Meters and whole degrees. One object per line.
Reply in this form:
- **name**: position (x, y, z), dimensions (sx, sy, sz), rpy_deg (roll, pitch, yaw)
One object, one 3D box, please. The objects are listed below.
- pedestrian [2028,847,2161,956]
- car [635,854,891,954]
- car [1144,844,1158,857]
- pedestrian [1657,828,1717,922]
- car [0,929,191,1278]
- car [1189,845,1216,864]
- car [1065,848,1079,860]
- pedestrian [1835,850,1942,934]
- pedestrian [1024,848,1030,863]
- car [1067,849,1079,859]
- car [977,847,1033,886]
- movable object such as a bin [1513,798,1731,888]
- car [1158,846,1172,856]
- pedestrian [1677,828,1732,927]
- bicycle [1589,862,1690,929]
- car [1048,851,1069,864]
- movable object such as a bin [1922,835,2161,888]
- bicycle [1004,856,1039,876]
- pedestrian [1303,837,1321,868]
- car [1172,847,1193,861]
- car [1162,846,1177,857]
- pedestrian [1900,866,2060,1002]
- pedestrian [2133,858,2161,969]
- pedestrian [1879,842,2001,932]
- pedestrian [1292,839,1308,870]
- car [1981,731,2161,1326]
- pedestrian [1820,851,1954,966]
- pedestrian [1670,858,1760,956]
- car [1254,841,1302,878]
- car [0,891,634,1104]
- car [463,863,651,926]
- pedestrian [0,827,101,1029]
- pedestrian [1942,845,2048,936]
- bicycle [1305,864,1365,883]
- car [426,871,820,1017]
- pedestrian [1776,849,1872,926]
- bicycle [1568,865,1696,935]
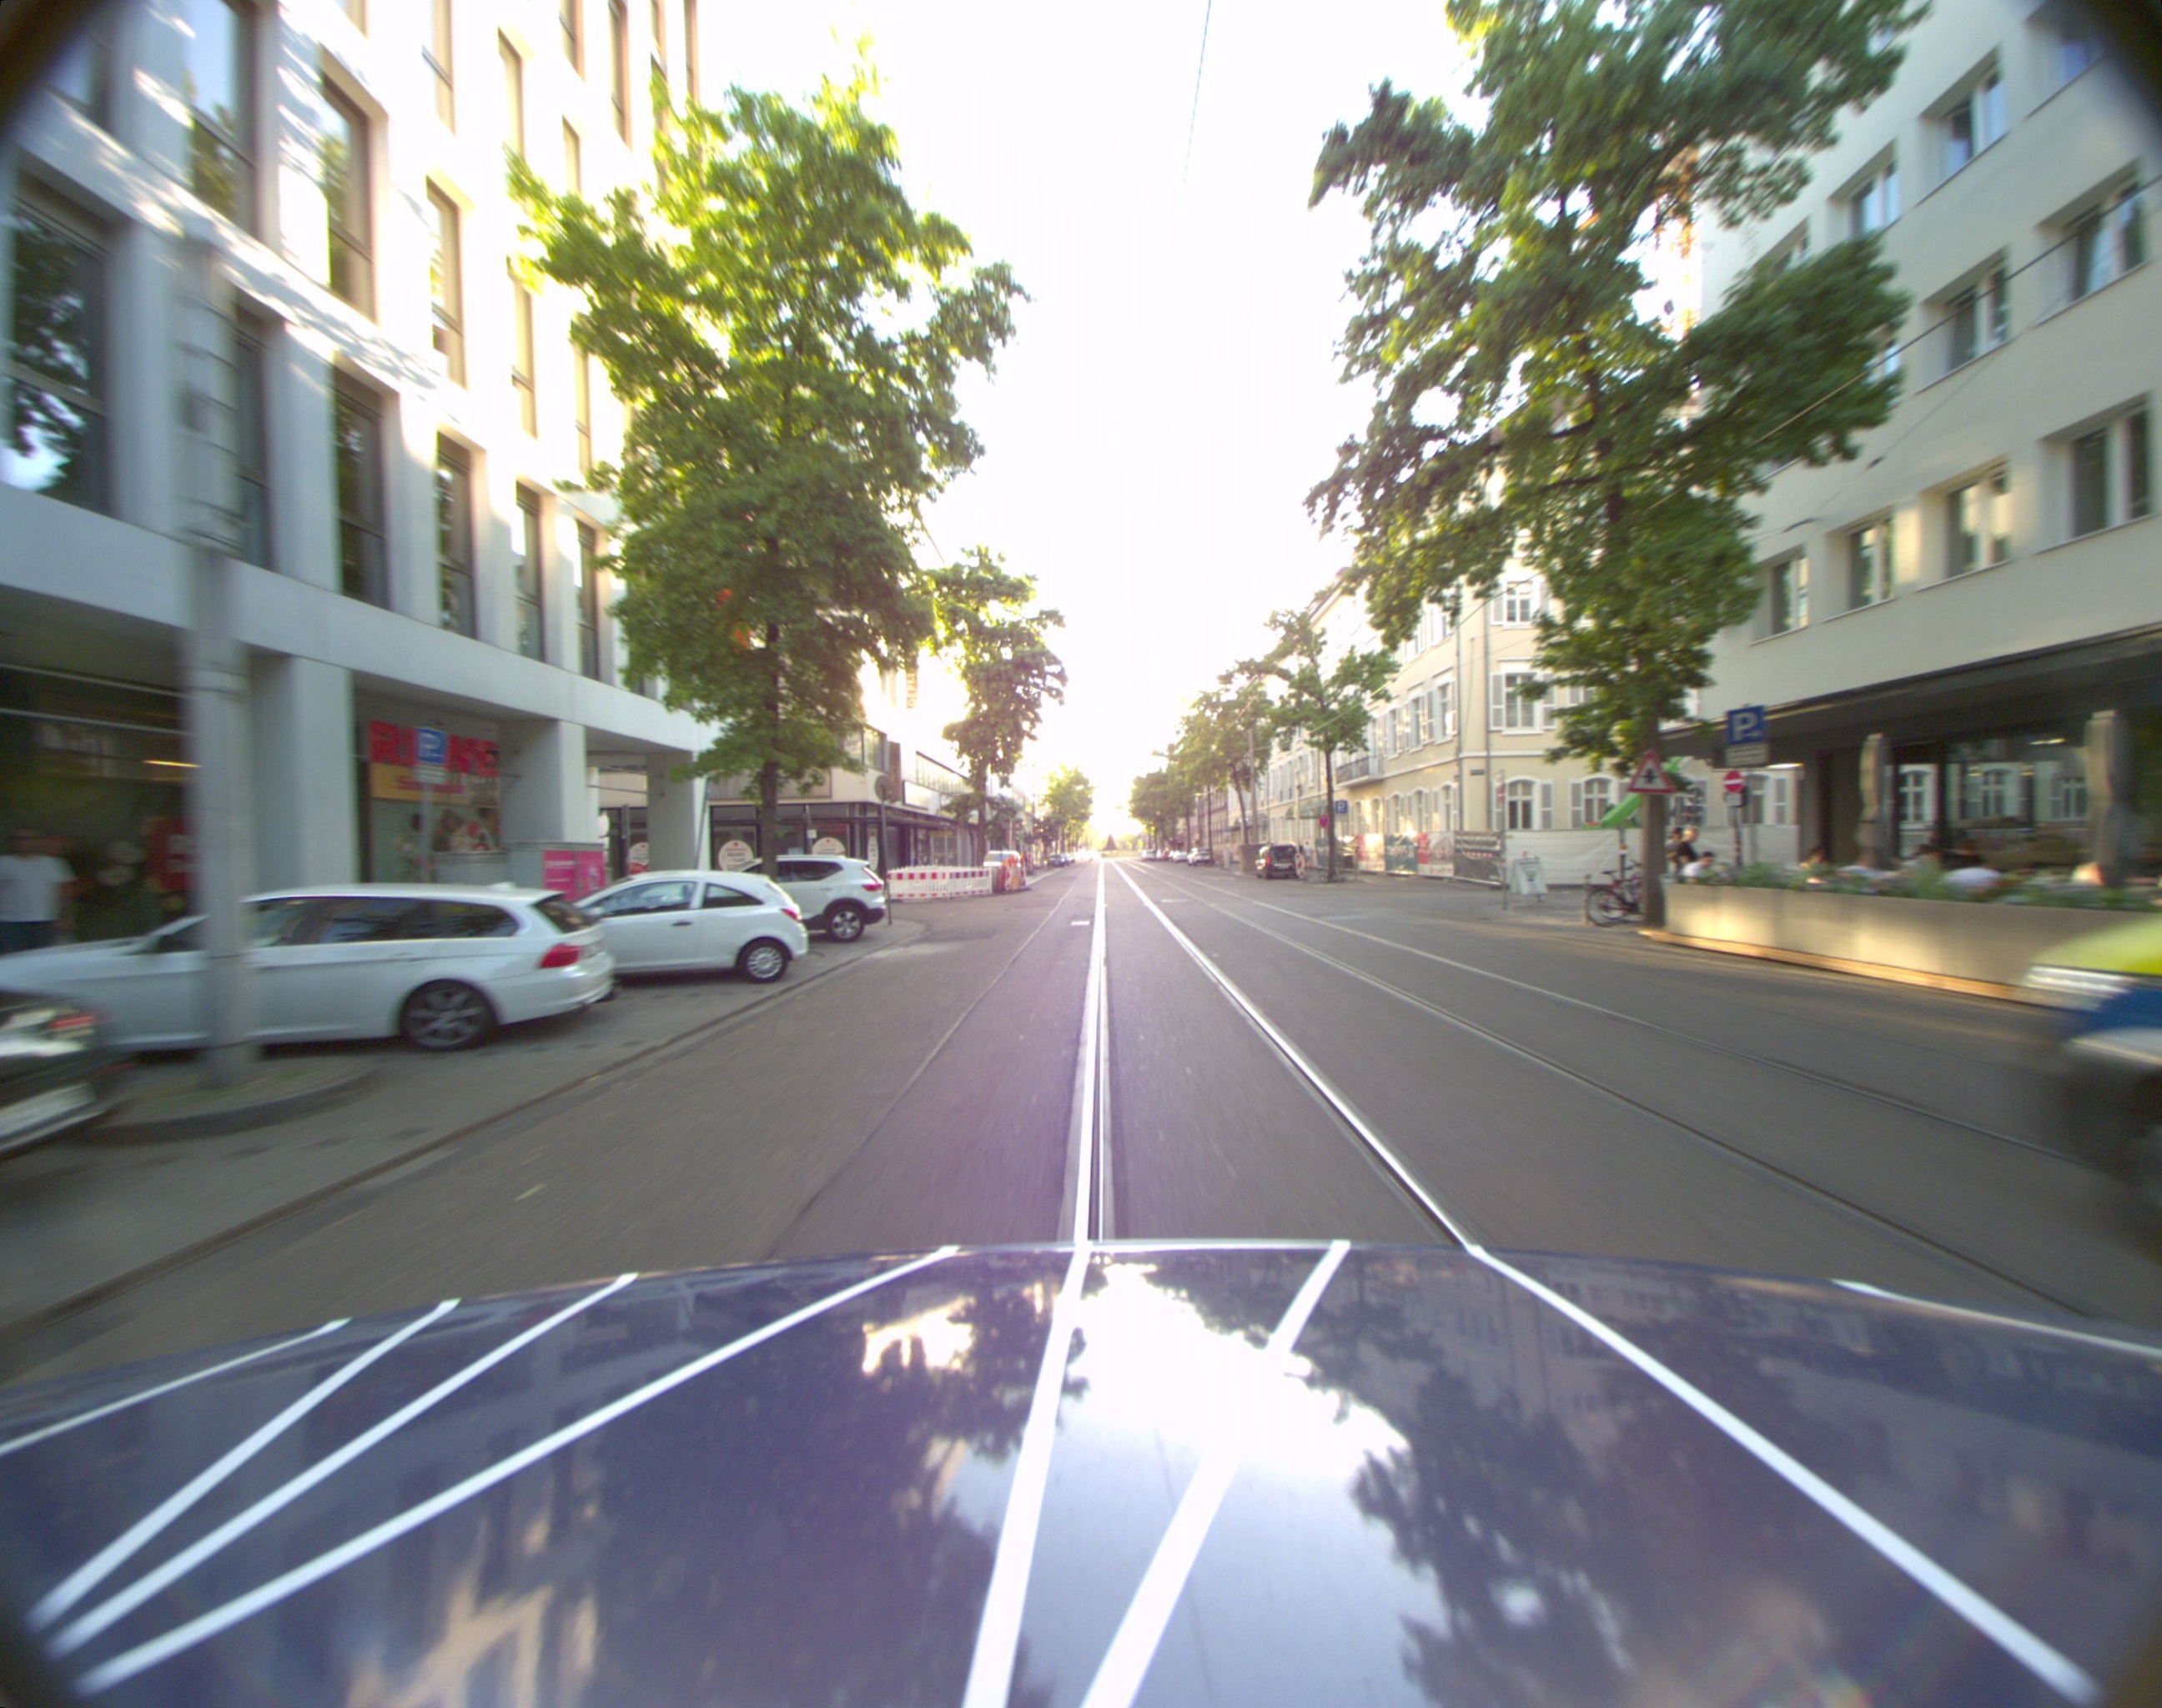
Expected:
- **pedestrian**: position (13.336, 0.591, 9.894), dimensions (0.887, 1.313, 0.882), rpy_deg (-2, 2, 5)
- **car**: position (-6.028, 0.884, 14.728), dimensions (4.278, 1.662, 1.948), rpy_deg (1, 2, -23)
- **car**: position (10.392, -0.526, 112.772), dimensions (1.998, 1.727, 4.105), rpy_deg (-1, 1, 4)
- **pedestrian**: position (11.630, 0.390, 14.580), dimensions (0.782, 1.731, 0.640), rpy_deg (-3, 2, -29)
- **car**: position (-6.815, 1.114, 2.686), dimensions (4.355, 1.414, 1.951), rpy_deg (1, 1, -20)
- **car**: position (11.580, -0.003, 72.440), dimensions (1.998, 1.727, 4.105), rpy_deg (-1, 1, 2)
- **car**: position (-1.248, -0.045, 109.184), dimensions (1.902, 1.683, 4.104), rpy_deg (-1, 1, -1)
- **pedestrian**: position (13.429, 0.610, 12.664), dimensions (0.849, 1.313, 0.882), rpy_deg (-2, 2, 6)
- **pedestrian**: position (-5.527, 0.118, 77.814), dimensions (0.477, 1.547, 0.748), rpy_deg (0, 2, 2)
- **car**: position (-1.241, -0.057, 114.619), dimensions (1.686, 1.472, 3.846), rpy_deg (-1, 1, 1)
- **car**: position (-3.648, 0.572, 37.405), dimensions (1.998, 1.761, 4.671), rpy_deg (1, 0, 4)
- **movable object such as a bin**: position (18.336, -0.381, 26.019), dimensions (5.561, 2.856, 2.643), rpy_deg (-1, 2, -1)
- **car**: position (12.910, -0.483, 117.025), dimensions (1.998, 1.540, 4.105), rpy_deg (-1, 1, 4)
- **pedestrian**: position (11.411, 0.413, 13.905), dimensions (0.783, 1.731, 0.640), rpy_deg (-3, 2, -40)
- **bicycle**: position (10.714, 0.764, 14.579), dimensions (1.869, 1.133, 0.778), rpy_deg (-3, 2, -26)
- **car**: position (-2.378, 0.384, 82.214), dimensions (2.002, 1.354, 4.105), rpy_deg (0, 1, 2)
- **movable object such as a bin**: position (33.540, 0.207, 25.533), dimensions (7.288, 1.655, 2.899), rpy_deg (0, 1, 0)
- **bicycle**: position (-3.848, 0.774, 49.237), dimensions (2.163, 1.152, 0.761), rpy_deg (1, 2, 8)
- **pedestrian**: position (14.047, -0.099, 46.250), dimensions (0.759, 1.874, 0.880), rpy_deg (-3, 1, 3)
- **car**: position (12.149, -0.022, 90.934), dimensions (1.998, 1.494, 4.105), rpy_deg (-1, 1, 2)
- **car**: position (12.884, -0.431, 111.026), dimensions (1.998, 1.567, 4.105), rpy_deg (-1, 1, 4)
- **pedestrian**: position (9.724, 0.836, 8.260), dimensions (0.717, 1.354, 0.871), rpy_deg (-2, 1, 4)
- **pedestrian**: position (13.278, 0.709, 8.834), dimensions (0.849, 1.313, 0.882), rpy_deg (-2, 2, 6)
- **pedestrian**: position (13.240, 0.491, 11.745), dimensions (0.887, 1.313, 0.882), rpy_deg (-2, 2, 5)
- **pedestrian**: position (13.307, 0.019, 46.171), dimensions (0.679, 1.874, 0.769), rpy_deg (-3, 1, 3)
- **car**: position (4.500, 0.576, 0.563), dimensions (1.998, 1.965, 4.849), rpy_deg (-1, 1, 1)
- **pedestrian**: position (10.102, 0.654, 9.555), dimensions (0.717, 1.354, 0.924), rpy_deg (-2, 1, 4)
- **pedestrian**: position (9.435, 0.771, 11.333), dimensions (0.694, 1.369, 0.792), rpy_deg (-2, 1, 4)
- **car**: position (10.420, 0.262, 40.357), dimensions (1.771, 1.754, 3.879), rpy_deg (-4, 0, 5)
- **car**: position (-6.678, 1.096, 6.795), dimensions (4.355, 1.414, 1.825), rpy_deg (1, 1, -21)
- **car**: position (-15.067, 1.136, 21.998), dimensions (4.147, 1.603, 1.904), rpy_deg (-1, 2, 4)
- **pedestrian**: position (-10.466, 0.710, 7.450), dimensions (0.805, 1.885, 0.682), rpy_deg (-2, 0, 3)
- **pedestrian**: position (14.001, 0.540, 11.669), dimensions (0.623, 1.313, 0.842), rpy_deg (-2, 2, 5)
- **bicycle**: position (10.747, 0.816, 32.222), dimensions (2.076, 0.702, 1.330), rpy_deg (-2, 1, -4)
- **car**: position (-5.695, 1.018, 9.956), dimensions (4.074, 1.493, 1.791), rpy_deg (1, 1, -28)
- **pedestrian**: position (13.480, 0.588, 13.813), dimensions (0.887, 1.313, 0.882), rpy_deg (-2, 2, 5)
- **bicycle**: position (9.932, 0.817, 13.720), dimensions (1.865, 1.133, 0.626), rpy_deg (-2, 2, -1)
